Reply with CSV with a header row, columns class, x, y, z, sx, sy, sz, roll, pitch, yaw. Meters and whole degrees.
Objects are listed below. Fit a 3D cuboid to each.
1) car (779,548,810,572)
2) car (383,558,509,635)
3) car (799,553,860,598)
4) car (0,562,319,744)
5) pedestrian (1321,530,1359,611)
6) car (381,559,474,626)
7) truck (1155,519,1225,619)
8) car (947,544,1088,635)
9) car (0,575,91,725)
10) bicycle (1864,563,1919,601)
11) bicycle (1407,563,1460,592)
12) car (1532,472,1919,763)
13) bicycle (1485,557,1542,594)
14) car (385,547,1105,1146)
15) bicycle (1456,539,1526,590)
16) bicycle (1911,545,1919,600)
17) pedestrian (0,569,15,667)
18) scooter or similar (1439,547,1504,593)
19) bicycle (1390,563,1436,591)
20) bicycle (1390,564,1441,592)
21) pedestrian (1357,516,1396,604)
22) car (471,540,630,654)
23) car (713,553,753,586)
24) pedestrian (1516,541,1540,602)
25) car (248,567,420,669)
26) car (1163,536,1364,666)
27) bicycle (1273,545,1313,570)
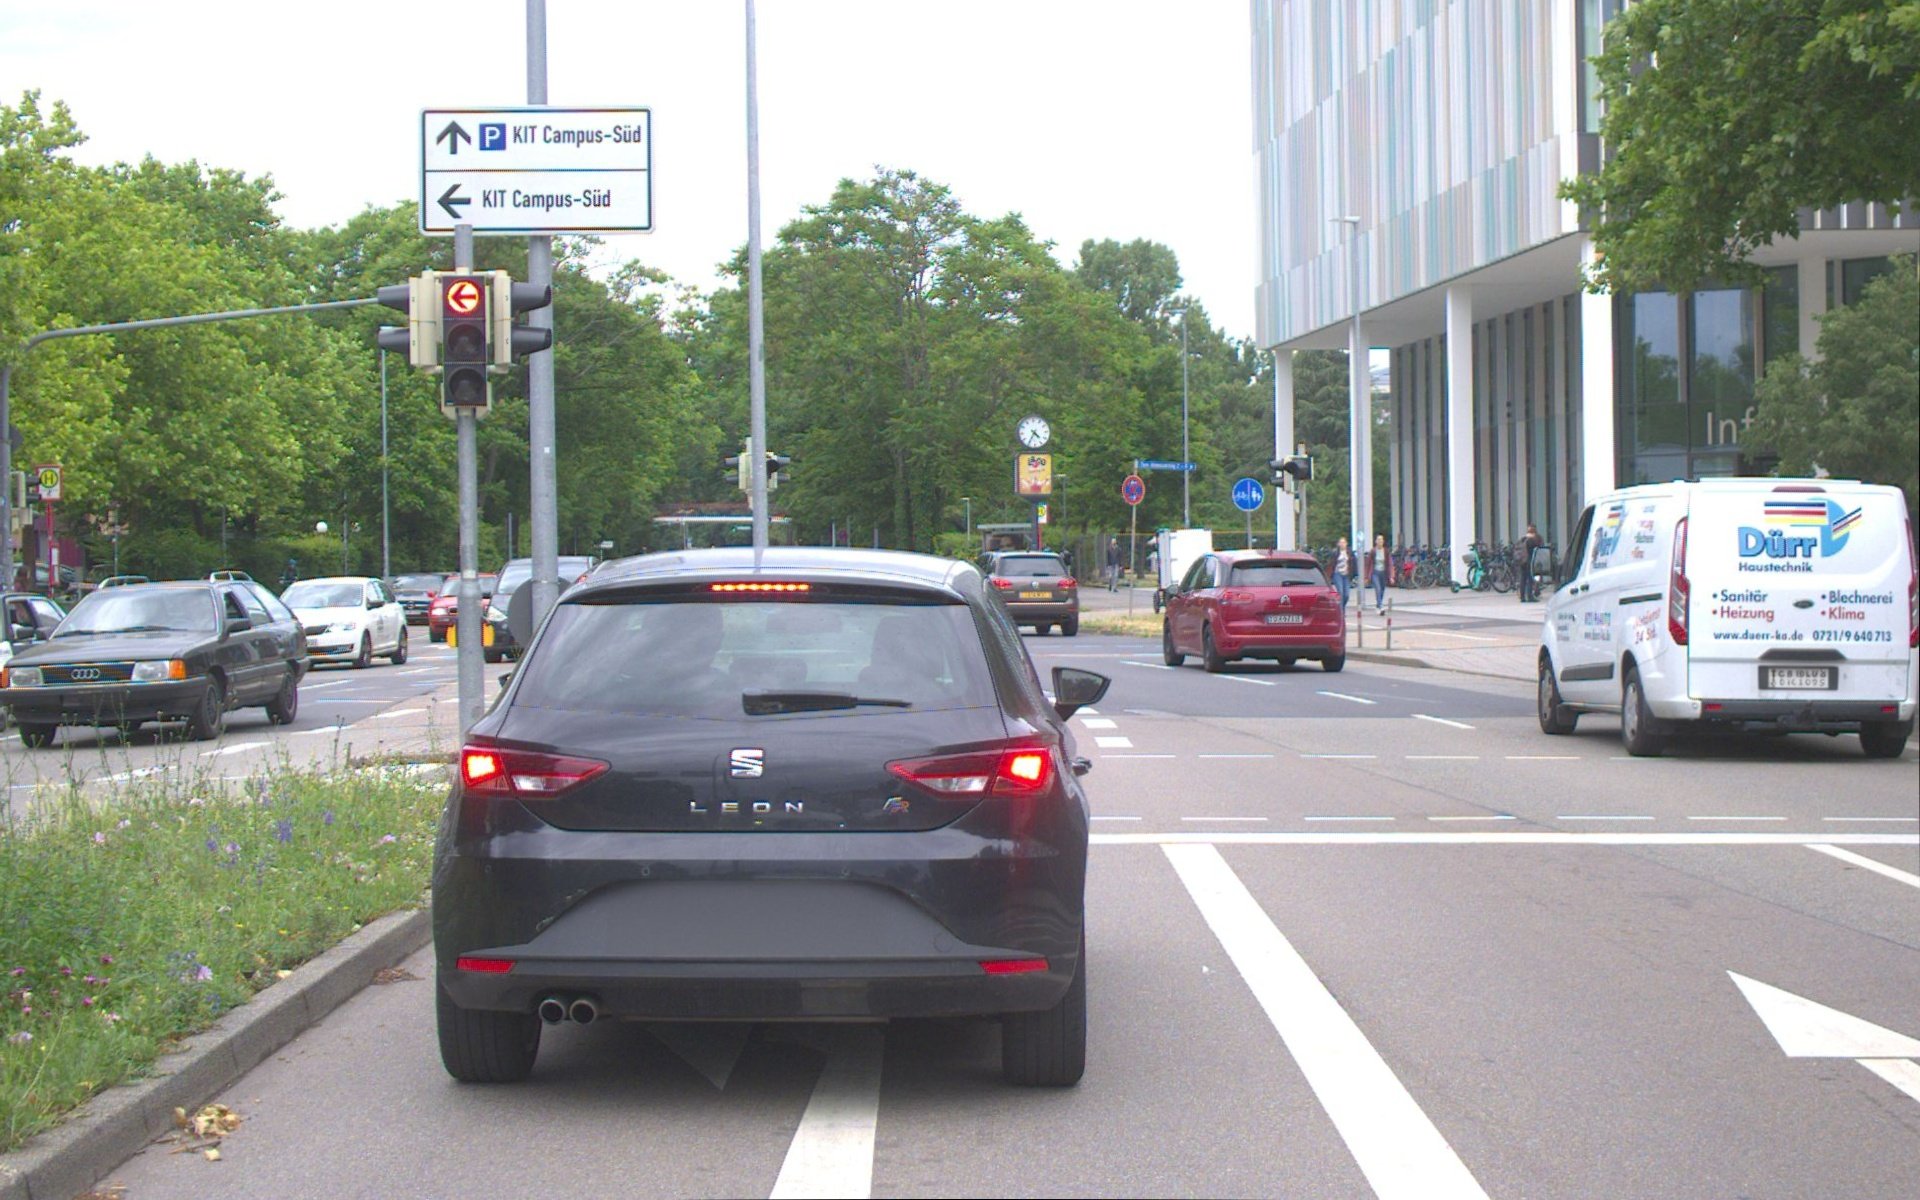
class,x,y,z,sx,sy,sz,roll,pitch,yaw
car,-8.555,-2.067,177.444,1.505,1.189,3.163,-2,1,-3
car,-10.424,-0.095,69.923,1.714,1.413,4.294,-2,1,2
car,-4.334,-0.823,113.645,1.898,1.349,3.883,-2,1,-3
car,-7.278,0.438,31.371,1.764,1.455,4.791,-3,0,2
pedestrian,7.770,-0.608,70.270,0.687,1.634,0.633,0,1,0
car,-14.835,-0.229,95.878,1.906,1.711,4.000,-2,1,0
truck,5.377,-0.750,80.772,1.317,2.235,3.402,-2,1,0
car,1.096,-0.237,67.735,1.914,1.658,4.116,-3,1,-11
car,-9.983,0.503,34.267,1.608,1.376,3.809,-2,1,0
bicycle,19.044,-0.367,69.907,1.522,0.714,0.519,-3,2,-43
bicycle,12.887,-0.613,93.524,1.374,0.703,0.416,-2,1,3
car,5.670,0.081,25.666,1.966,1.965,4.344,1,1,-1
bicycle,13.740,-0.613,85.317,1.438,0.855,0.365,-3,1,-26
car,-0.450,0.571,10.276,1.753,1.427,3.769,1,1,2
bicycle,13.452,-0.894,87.052,1.772,1.207,0.570,-3,1,-33
bicycle,19.552,-0.577,68.855,0.810,1.052,1.947,-2,1,20
pedestrian,-15.853,0.304,55.742,0.874,1.581,0.543,-2,1,-6
scooter or similar,13.044,-0.775,87.636,1.671,1.103,0.499,-3,1,-31
bicycle,12.668,-0.643,96.215,1.240,0.703,0.489,-2,1,9
bicycle,12.621,-0.606,95.324,1.375,0.703,0.489,-2,1,9
pedestrian,8.523,-0.821,70.366,0.687,1.775,0.677,-1,1,0
car,-6.479,-0.069,54.822,1.921,1.659,4.399,-3,0,0
car,-11.103,-1.516,167.807,1.695,1.498,4.010,-2,1,-6
pedestrian,12.892,-0.652,78.047,0.472,1.357,0.445,-2,1,10
car,-9.879,0.261,54.556,1.705,1.426,4.227,-2,1,3
car,4.011,-0.018,46.017,1.949,1.618,3.750,0,2,-7
bicycle,11.258,-1.424,116.210,1.234,0.820,0.482,1,0,-22
